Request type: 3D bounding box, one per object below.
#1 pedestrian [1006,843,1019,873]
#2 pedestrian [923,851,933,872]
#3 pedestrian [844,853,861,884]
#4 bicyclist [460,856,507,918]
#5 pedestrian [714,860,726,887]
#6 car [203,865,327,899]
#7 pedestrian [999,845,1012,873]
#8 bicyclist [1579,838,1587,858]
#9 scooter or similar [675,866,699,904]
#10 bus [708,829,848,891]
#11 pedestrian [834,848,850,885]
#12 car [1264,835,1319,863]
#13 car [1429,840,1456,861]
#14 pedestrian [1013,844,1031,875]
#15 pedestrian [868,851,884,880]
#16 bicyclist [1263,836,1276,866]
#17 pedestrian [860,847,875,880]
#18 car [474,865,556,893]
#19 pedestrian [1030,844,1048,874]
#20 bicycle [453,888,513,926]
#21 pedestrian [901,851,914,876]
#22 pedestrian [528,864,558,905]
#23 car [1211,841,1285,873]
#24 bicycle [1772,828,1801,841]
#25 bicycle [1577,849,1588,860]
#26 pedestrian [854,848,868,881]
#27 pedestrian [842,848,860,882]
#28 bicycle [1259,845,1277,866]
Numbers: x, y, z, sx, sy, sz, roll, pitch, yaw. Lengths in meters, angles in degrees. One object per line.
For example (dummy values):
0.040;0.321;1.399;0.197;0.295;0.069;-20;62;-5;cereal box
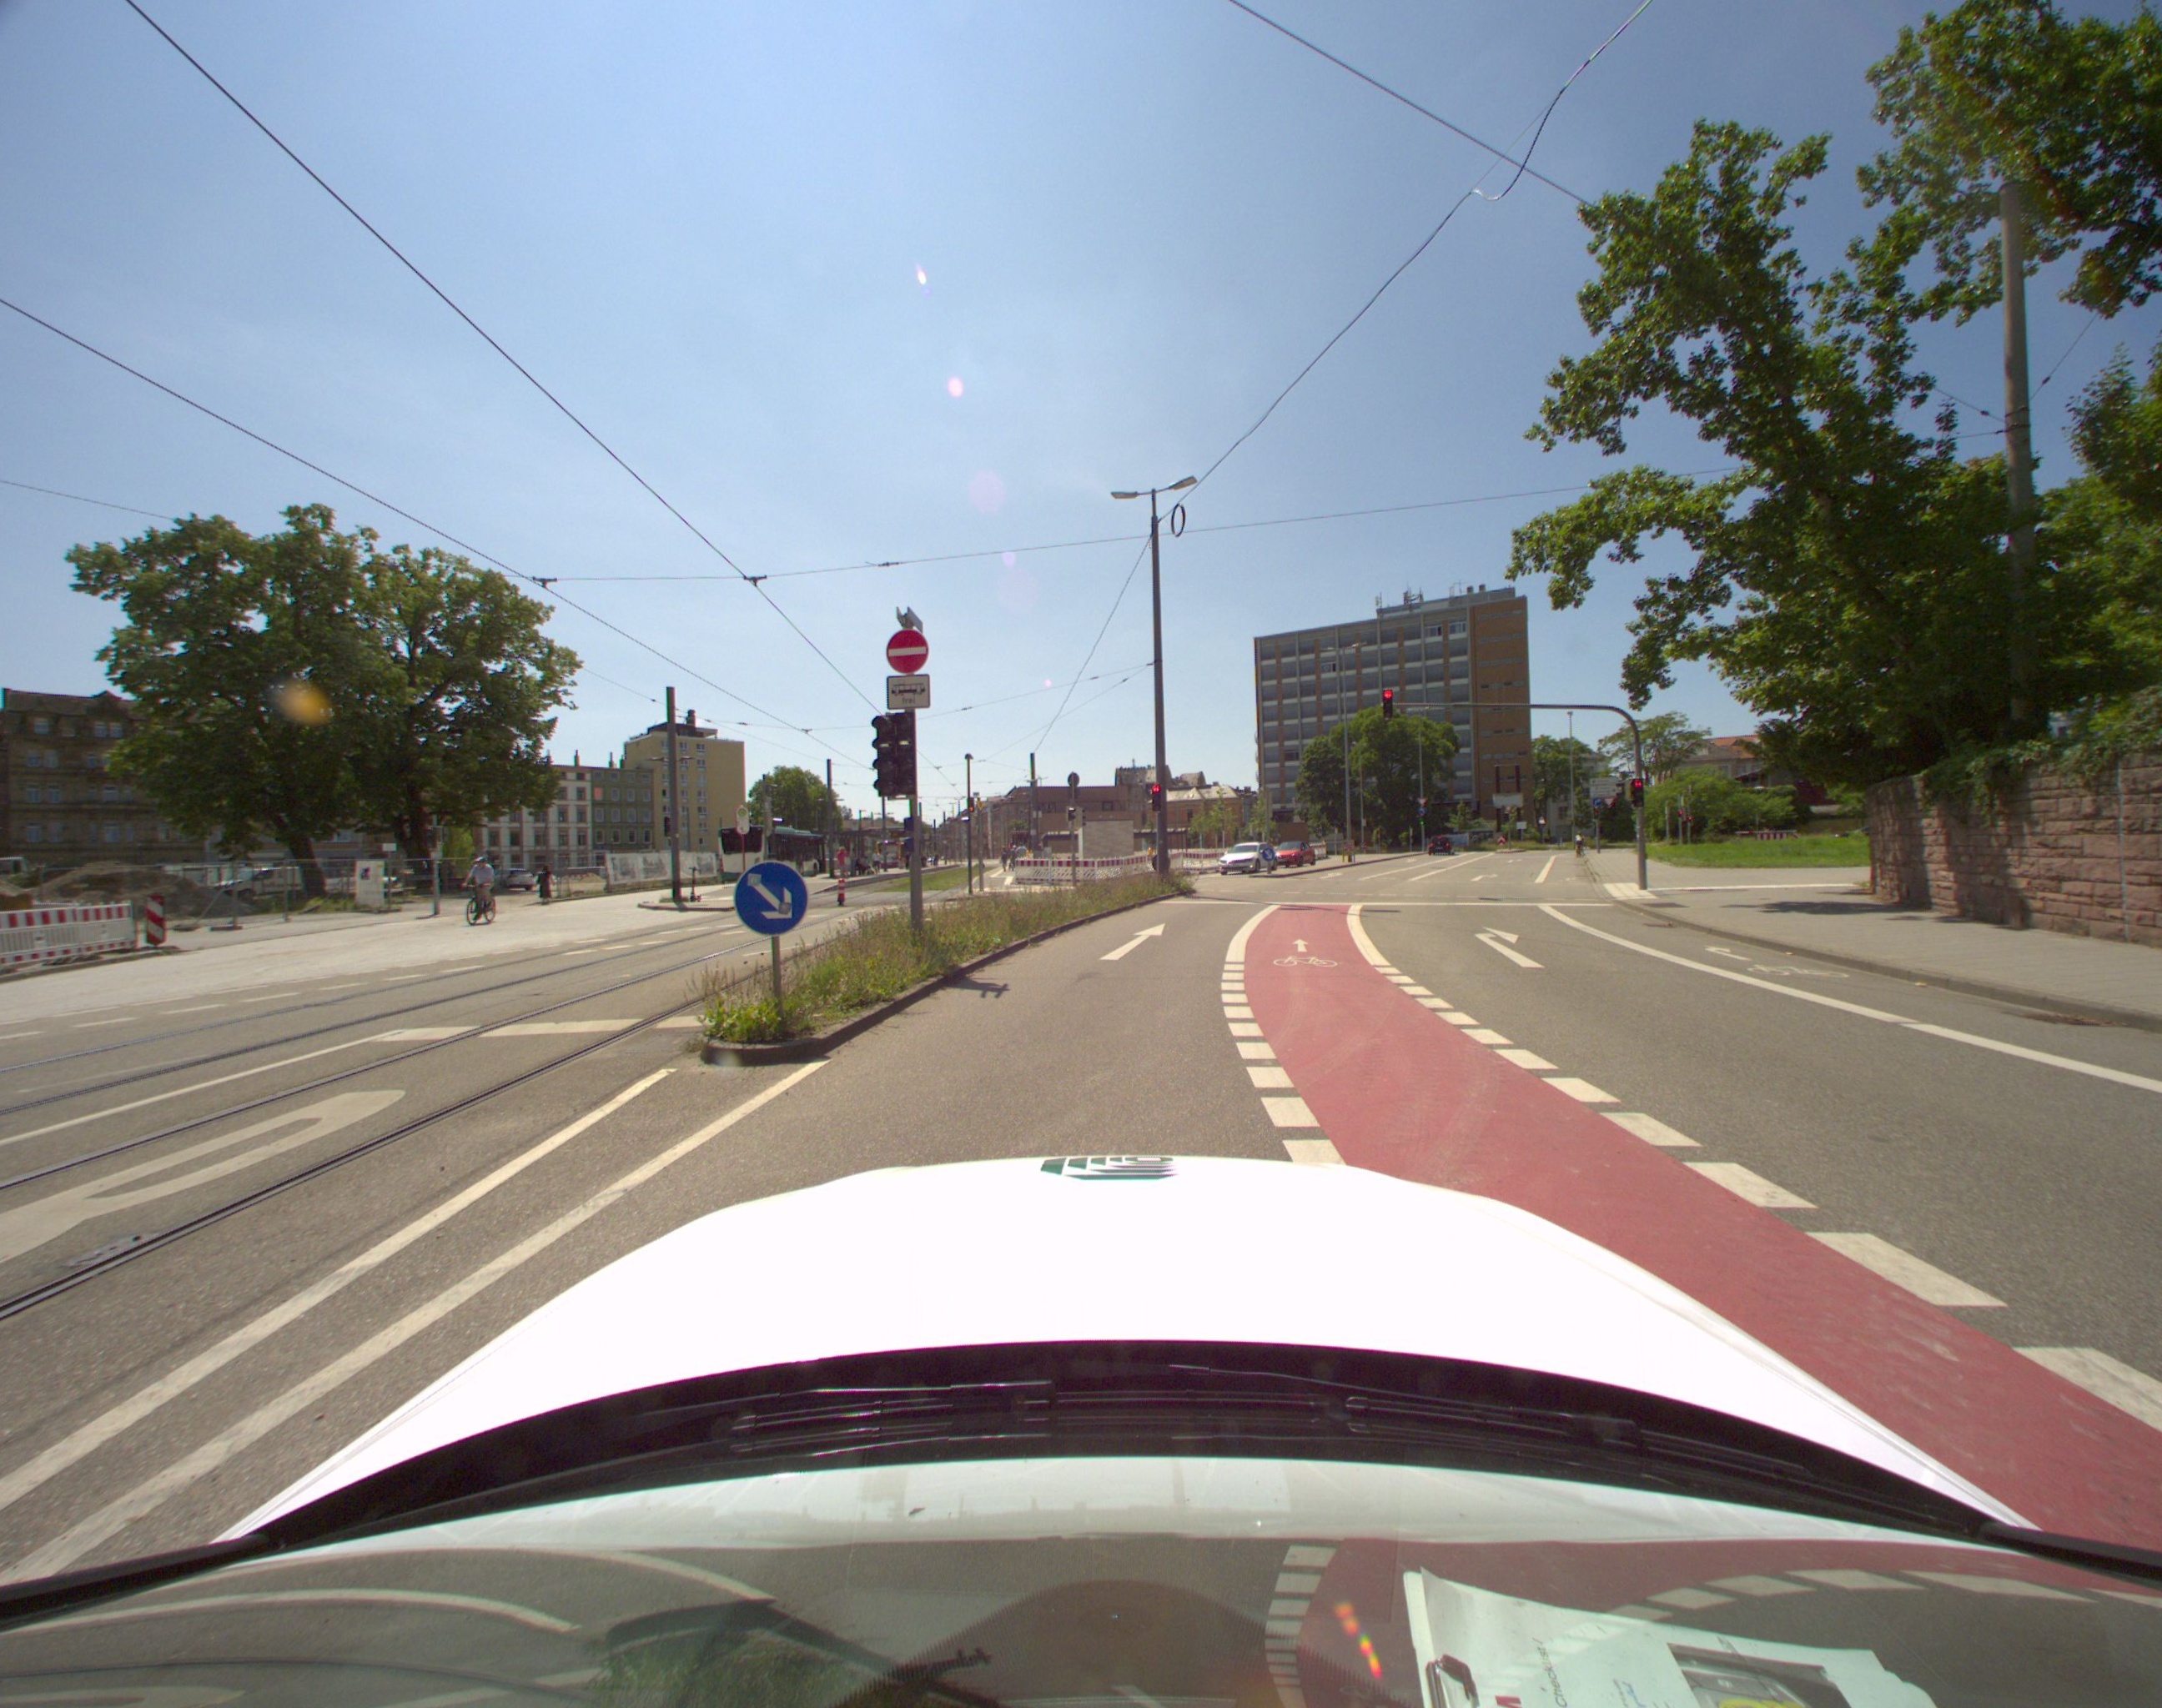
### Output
-4.500;0.281;53.280;0.718;1.923;1.071;-1;-1;-9;pedestrian
-15.725;0.765;83.519;0.827;2.096;0.900;-2;0;-5;pedestrian
-13.931;0.871;49.737;0.913;1.851;0.655;-2;0;-14;pedestrian
-16.874;0.916;23.020;0.822;1.709;0.766;-2;0;-15;bicyclist
-22.928;1.231;51.750;0.566;1.705;0.396;-2;0;-11;pedestrian
-51.159;1.727;51.238;2.095;1.884;5.060;-2;0;16;car
-4.832;0.325;52.025;0.728;1.707;0.740;-1;-1;-15;pedestrian
32.629;-0.390;52.982;0.348;1.227;0.567;-2;0;25;bicyclist
-13.161;1.030;27.225;0.318;1.206;1.245;-2;0;-8;scooter or similar
-18.350;0.273;51.324;3.003;3.158;17.479;-2;0;-3;bus
-12.452;0.634;42.409;0.673;1.909;0.637;-2;0;-13;pedestrian
11.830;-0.287;45.699;1.714;1.425;4.150;-2;-1;33;car
27.989;-0.303;63.120;1.674;1.527;3.709;-2;0;21;car
-3.603;0.335;49.904;0.771;1.864;0.721;0;-2;-45;pedestrian
-15.099;0.870;59.998;0.896;2.096;0.832;-2;0;1;pedestrian
11.138;-0.168;48.090;0.561;1.719;0.510;-1;0;37;bicyclist
-13.989;0.638;53.427;0.901;2.096;0.827;-2;0;-15;pedestrian
-37.130;1.610;53.462;4.159;1.649;1.856;-2;0;8;car
-2.653;0.305;51.149;0.980;1.832;0.629;-2;0;-18;pedestrian
-16.889;1.468;23.067;0.504;0.914;2.358;-2;0;-15;bicycle
-14.496;0.781;68.063;0.896;2.096;0.832;-2;0;1;pedestrian
-22.019;1.240;33.350;0.602;1.602;0.827;-2;0;6;pedestrian
8.178;0.113;39.630;1.974;1.438;4.735;-2;-1;32;car
66.874;-1.846;77.214;1.988;1.135;0.577;-2;-1;43;bicycle
32.639;0.011;52.969;0.373;0.646;1.654;-2;0;24;bicycle
-14.128;0.687;52.348;0.825;2.096;0.638;-2;0;-15;pedestrian
-13.708;0.643;48.515;0.942;1.990;1.024;-2;0;-13;pedestrian
11.068;0.062;48.163;0.394;1.174;1.782;-2;0;34;bicycle
